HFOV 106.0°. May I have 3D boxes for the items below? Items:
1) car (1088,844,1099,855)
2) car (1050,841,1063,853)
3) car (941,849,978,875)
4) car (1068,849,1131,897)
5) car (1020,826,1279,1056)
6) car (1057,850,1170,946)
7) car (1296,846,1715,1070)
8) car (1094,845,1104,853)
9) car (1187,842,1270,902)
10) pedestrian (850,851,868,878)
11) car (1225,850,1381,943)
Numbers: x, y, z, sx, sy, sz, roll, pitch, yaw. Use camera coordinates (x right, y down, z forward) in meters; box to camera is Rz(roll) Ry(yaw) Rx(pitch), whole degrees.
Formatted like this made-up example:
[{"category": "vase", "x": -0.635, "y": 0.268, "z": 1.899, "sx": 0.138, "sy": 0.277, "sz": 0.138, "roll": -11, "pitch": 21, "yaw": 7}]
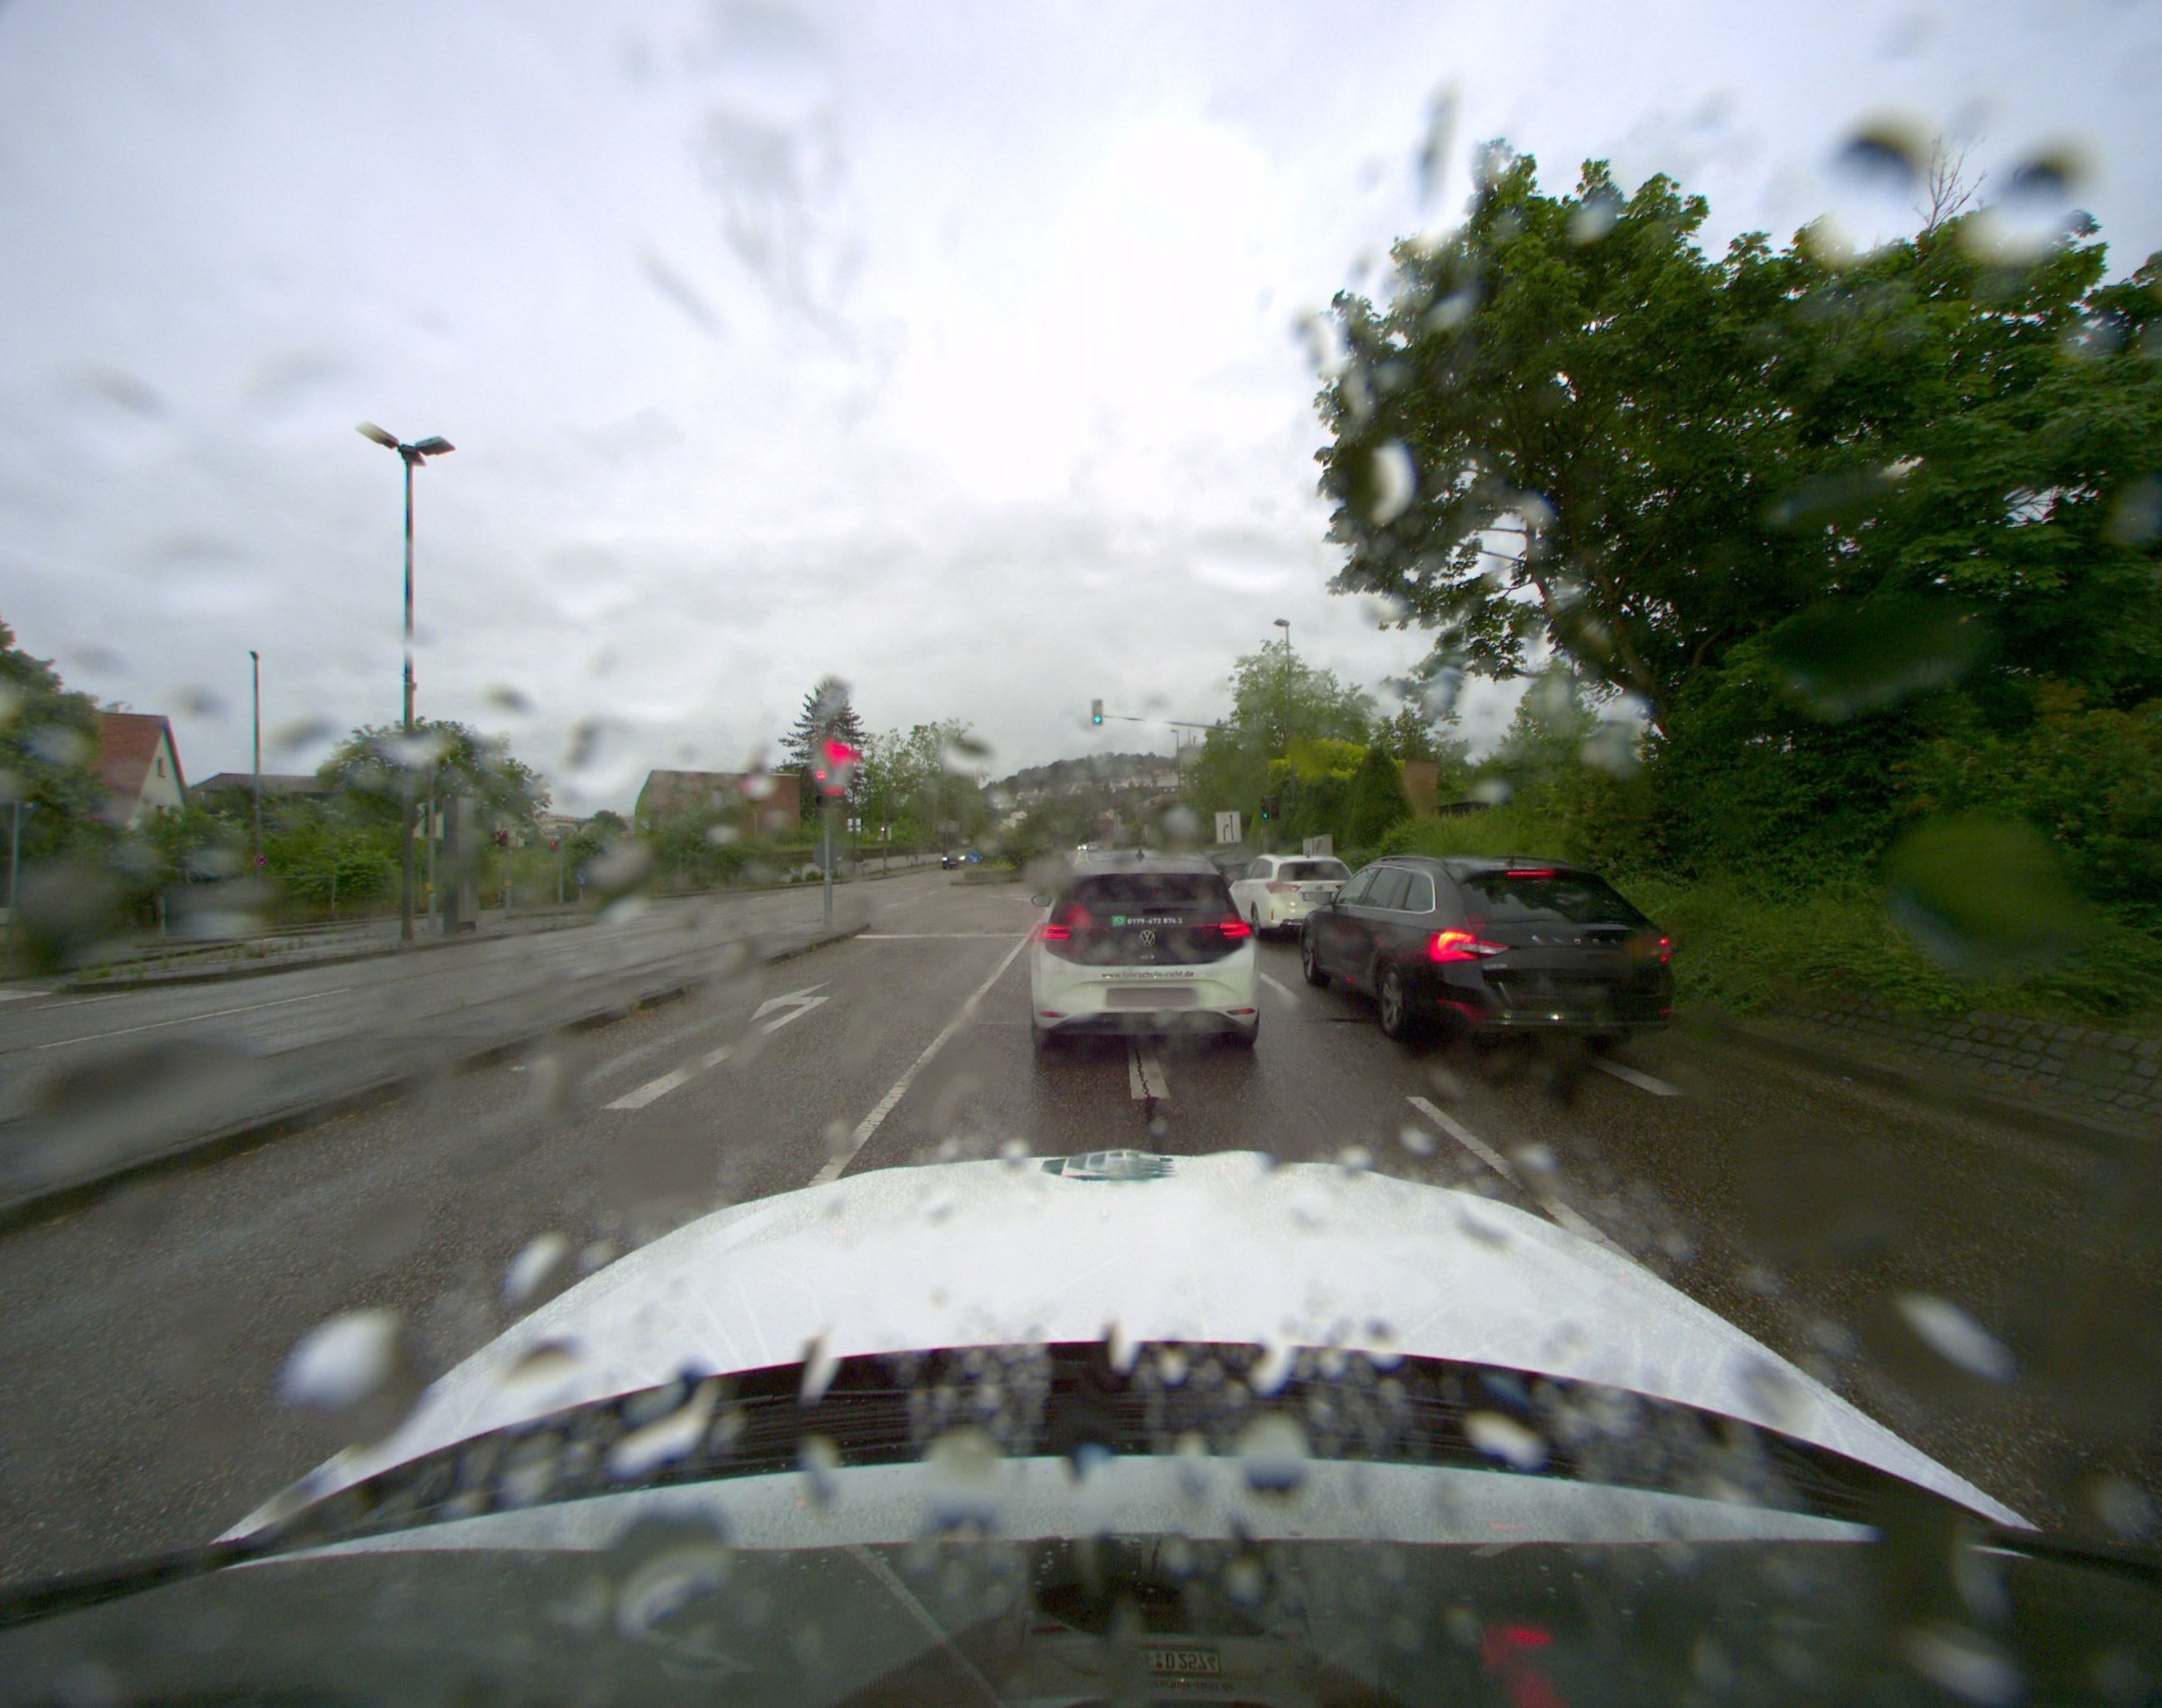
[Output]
[{"category": "car", "x": 1.812, "y": -0.666, "z": 117.577, "sx": 1.575, "sy": 1.467, "sz": 4.000, "roll": -3, "pitch": -1, "yaw": 1}, {"category": "car", "x": -4.225, "y": -1.238, "z": 140.622, "sx": 1.986, "sy": 2.014, "sz": 4.002, "roll": -1, "pitch": -1, "yaw": 2}, {"category": "car", "x": -9.436, "y": 0.599, "z": 63.497, "sx": 1.986, "sy": 1.804, "sz": 4.002, "roll": -4, "pitch": 0, "yaw": 2}, {"category": "car", "x": 0.585, "y": 0.548, "z": 25.532, "sx": 1.831, "sy": 1.400, "sz": 3.832, "roll": 0, "pitch": 0, "yaw": 1}, {"category": "car", "x": 0.537, "y": 0.599, "z": 8.070, "sx": 1.831, "sy": 1.629, "sz": 4.617, "roll": 0, "pitch": 0, "yaw": 1}, {"category": "car", "x": 0.572, "y": 0.696, "z": 15.251, "sx": 1.831, "sy": 1.555, "sz": 4.176, "roll": 0, "pitch": 0, "yaw": 1}, {"category": "car", "x": 3.365, "y": 0.669, "z": 7.541, "sx": 1.830, "sy": 1.466, "sz": 4.353, "roll": 0, "pitch": 0, "yaw": 3}, {"category": "car", "x": 3.426, "y": -0.997, "z": 153.312, "sx": 1.755, "sy": 1.418, "sz": 3.748, "roll": -3, "pitch": 0, "yaw": 0}, {"category": "car", "x": 4.120, "y": 0.477, "z": 23.326, "sx": 1.769, "sy": 1.581, "sz": 4.002, "roll": 0, "pitch": 0, "yaw": 2}, {"category": "pedestrian", "x": -13.670, "y": 0.641, "z": 50.232, "sx": 0.757, "sy": 1.568, "sz": 0.825, "roll": -4, "pitch": 0, "yaw": 1}, {"category": "car", "x": 3.880, "y": 0.670, "z": 14.960, "sx": 1.831, "sy": 1.466, "sz": 4.118, "roll": 0, "pitch": 0, "yaw": 1}]
